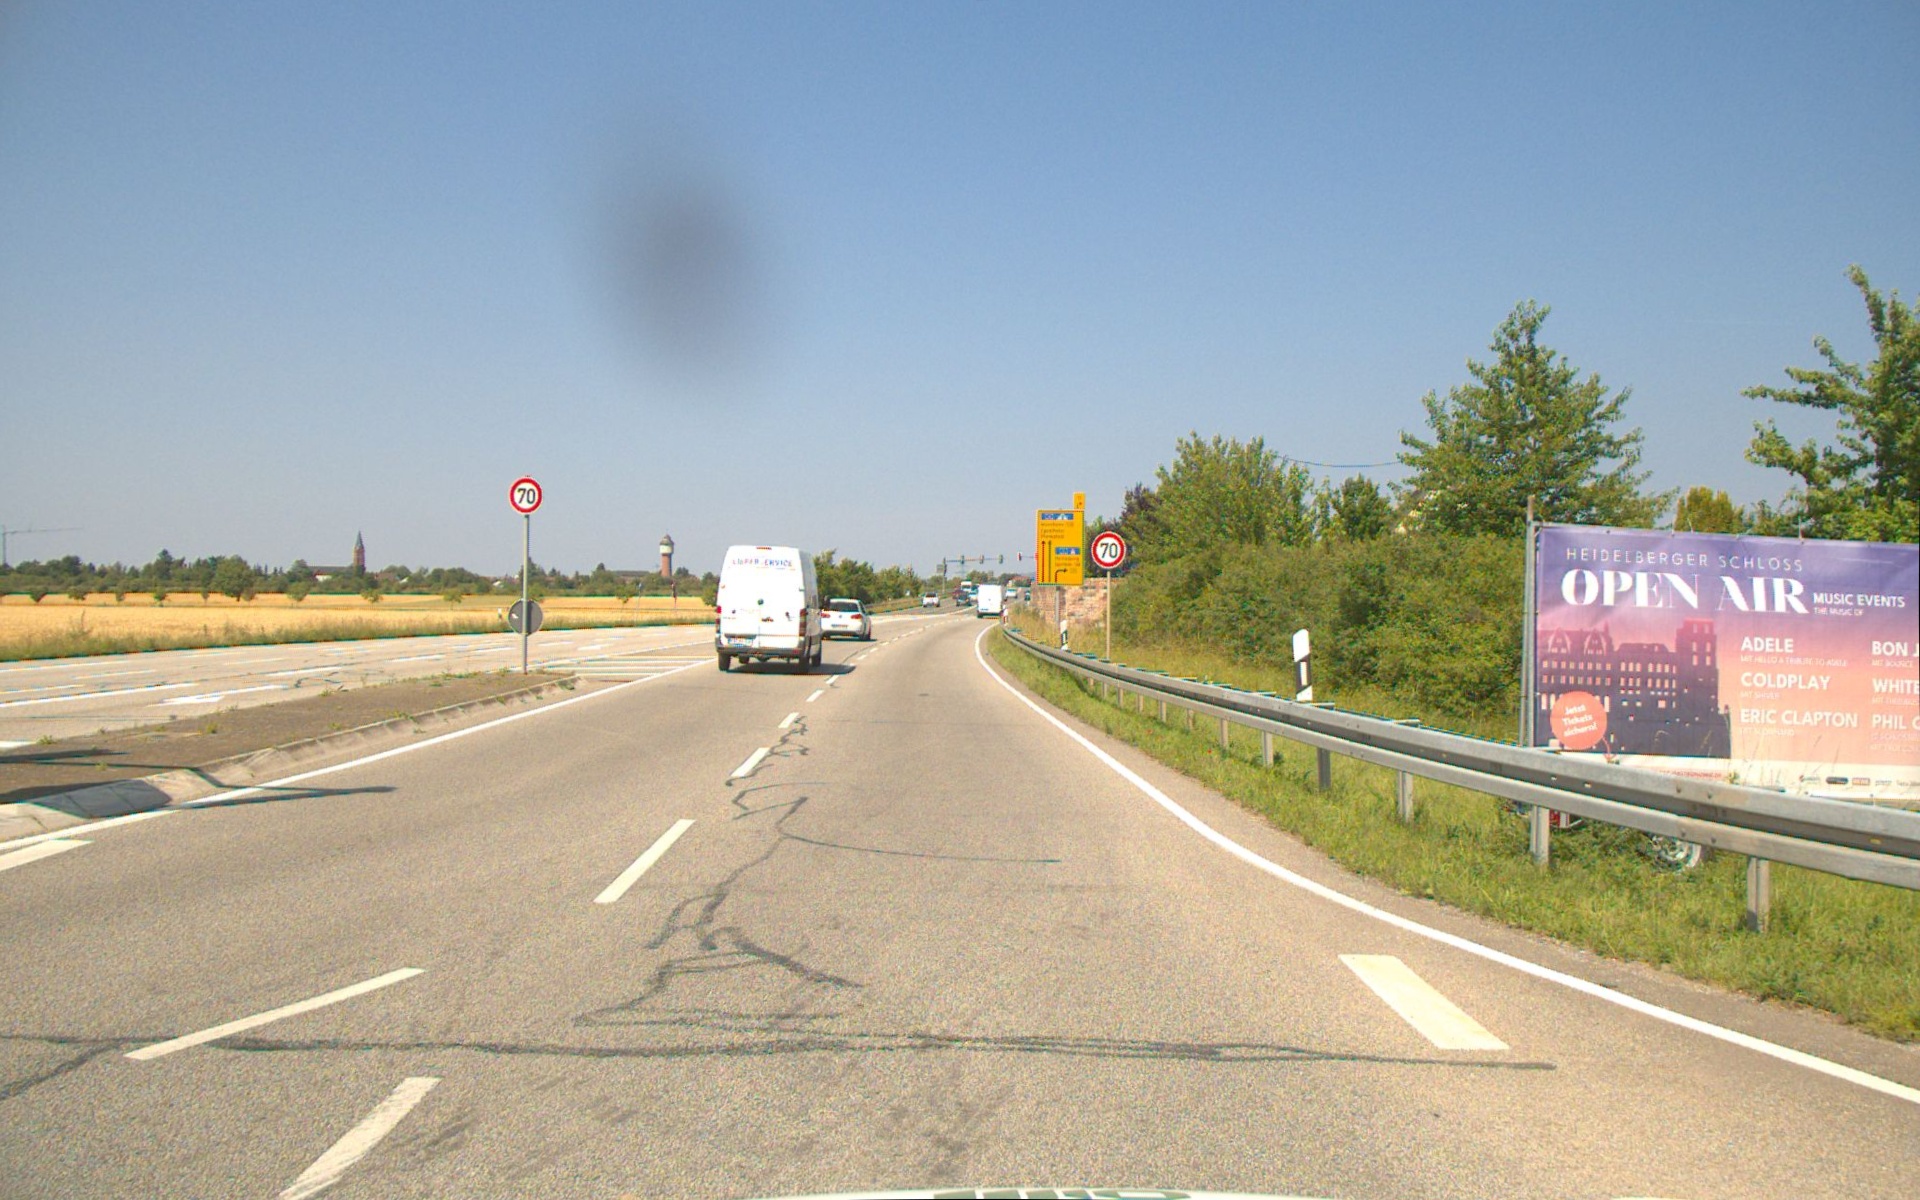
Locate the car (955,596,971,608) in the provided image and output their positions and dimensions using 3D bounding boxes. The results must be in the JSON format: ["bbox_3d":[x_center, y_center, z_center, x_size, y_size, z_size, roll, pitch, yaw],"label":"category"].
[{"bbox_3d":[0.423,0.254,202.053,1.712,1.467,4.083,0,0,3],"label":"car"}]

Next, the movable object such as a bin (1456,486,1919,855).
[{"bbox_3d":[5.750,0.509,11.761,4.013,2.372,1.276,2,-1,-4],"label":"movable object such as a bin"}]

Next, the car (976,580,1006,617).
[{"bbox_3d":[2.421,-0.097,127.998,1.952,2.742,4.971,2,-1,4],"label":"car"}]

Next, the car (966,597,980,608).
[{"bbox_3d":[1.794,0.392,235.378,1.712,1.467,4.083,3,-1,3],"label":"car"}]

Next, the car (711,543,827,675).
[{"bbox_3d":[-4.188,0.166,37.050,1.998,2.665,5.739,2,0,-2],"label":"car"}]

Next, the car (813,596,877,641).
[{"bbox_3d":[-4.179,0.642,60.607,1.762,1.534,4.198,1,1,3],"label":"car"}]

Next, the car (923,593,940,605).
[{"bbox_3d":[-3.407,-0.102,197.366,1.712,1.467,4.083,0,0,3],"label":"car"}]
